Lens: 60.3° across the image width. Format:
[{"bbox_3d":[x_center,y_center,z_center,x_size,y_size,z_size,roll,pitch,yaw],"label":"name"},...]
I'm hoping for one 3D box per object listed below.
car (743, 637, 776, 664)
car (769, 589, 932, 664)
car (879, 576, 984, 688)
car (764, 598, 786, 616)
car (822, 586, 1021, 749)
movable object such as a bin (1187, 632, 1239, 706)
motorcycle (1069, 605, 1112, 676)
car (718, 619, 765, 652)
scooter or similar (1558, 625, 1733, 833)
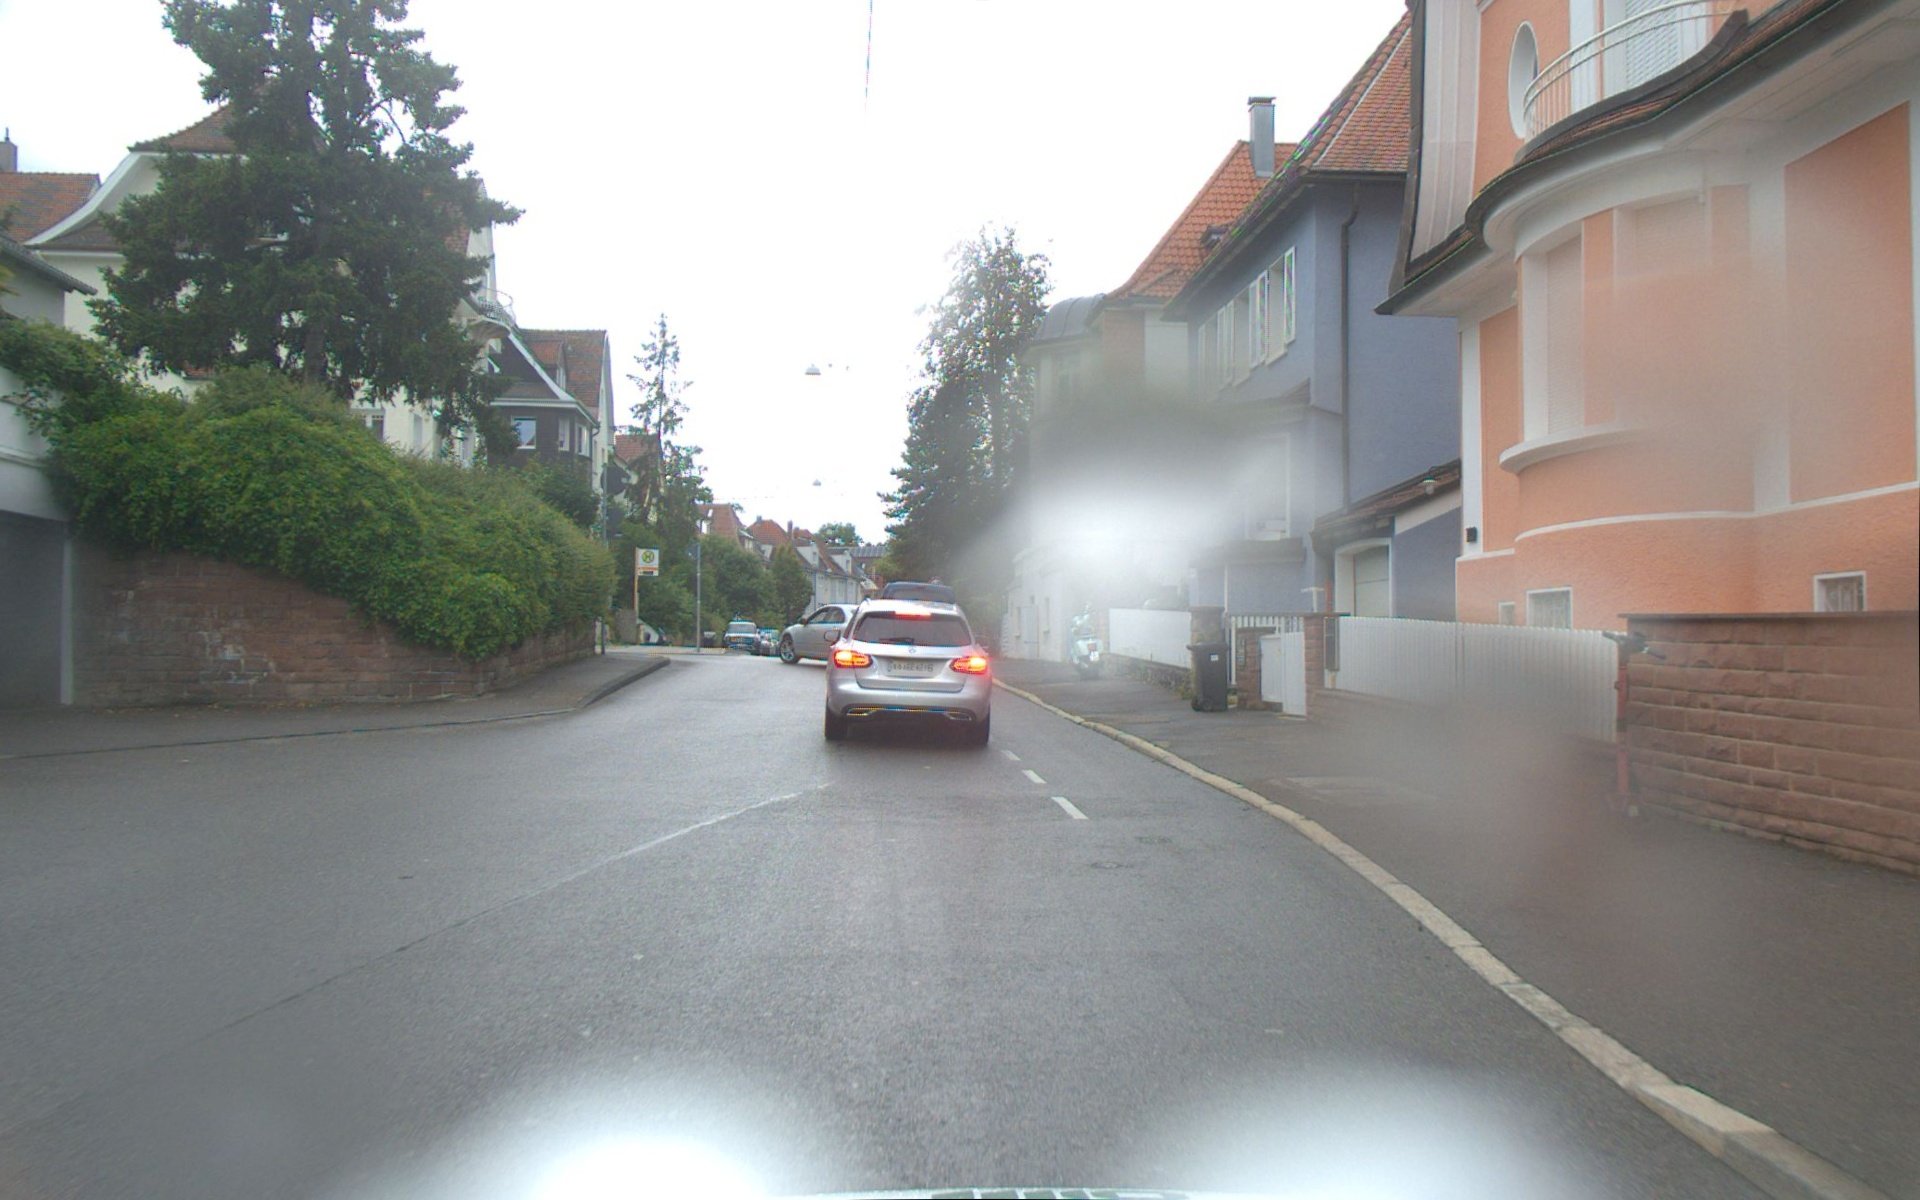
[{"bbox_3d":[-11.423,2.876,94.524,1.723,1.337,3.679,2,0,-5],"label":"car"},{"bbox_3d":[-2.543,0.570,37.375,1.973,1.566,4.288,1,0,-31],"label":"car"},{"bbox_3d":[-0.544,0.540,30.775,1.787,1.915,4.094,-1,0,-1],"label":"car"},{"bbox_3d":[-14.147,0.503,126.441,1.604,1.337,3.472,0,0,-5],"label":"car"},{"bbox_3d":[-0.468,0.664,18.503,1.943,1.581,4.295,1,0,-3],"label":"car"},{"bbox_3d":[3.444,0.937,22.553,0.538,0.952,0.633,-3,0,-4],"label":"movable object such as a bin"},{"bbox_3d":[2.526,0.764,32.225,0.570,1.283,2.331,-2,0,-1],"label":"motorcycle"},{"bbox_3d":[-10.555,1.685,80.259,2.076,1.497,4.013,0,0,-5],"label":"car"},{"bbox_3d":[4.442,0.802,10.807,0.678,1.245,1.300,0,0,4],"label":"scooter or similar"}]
